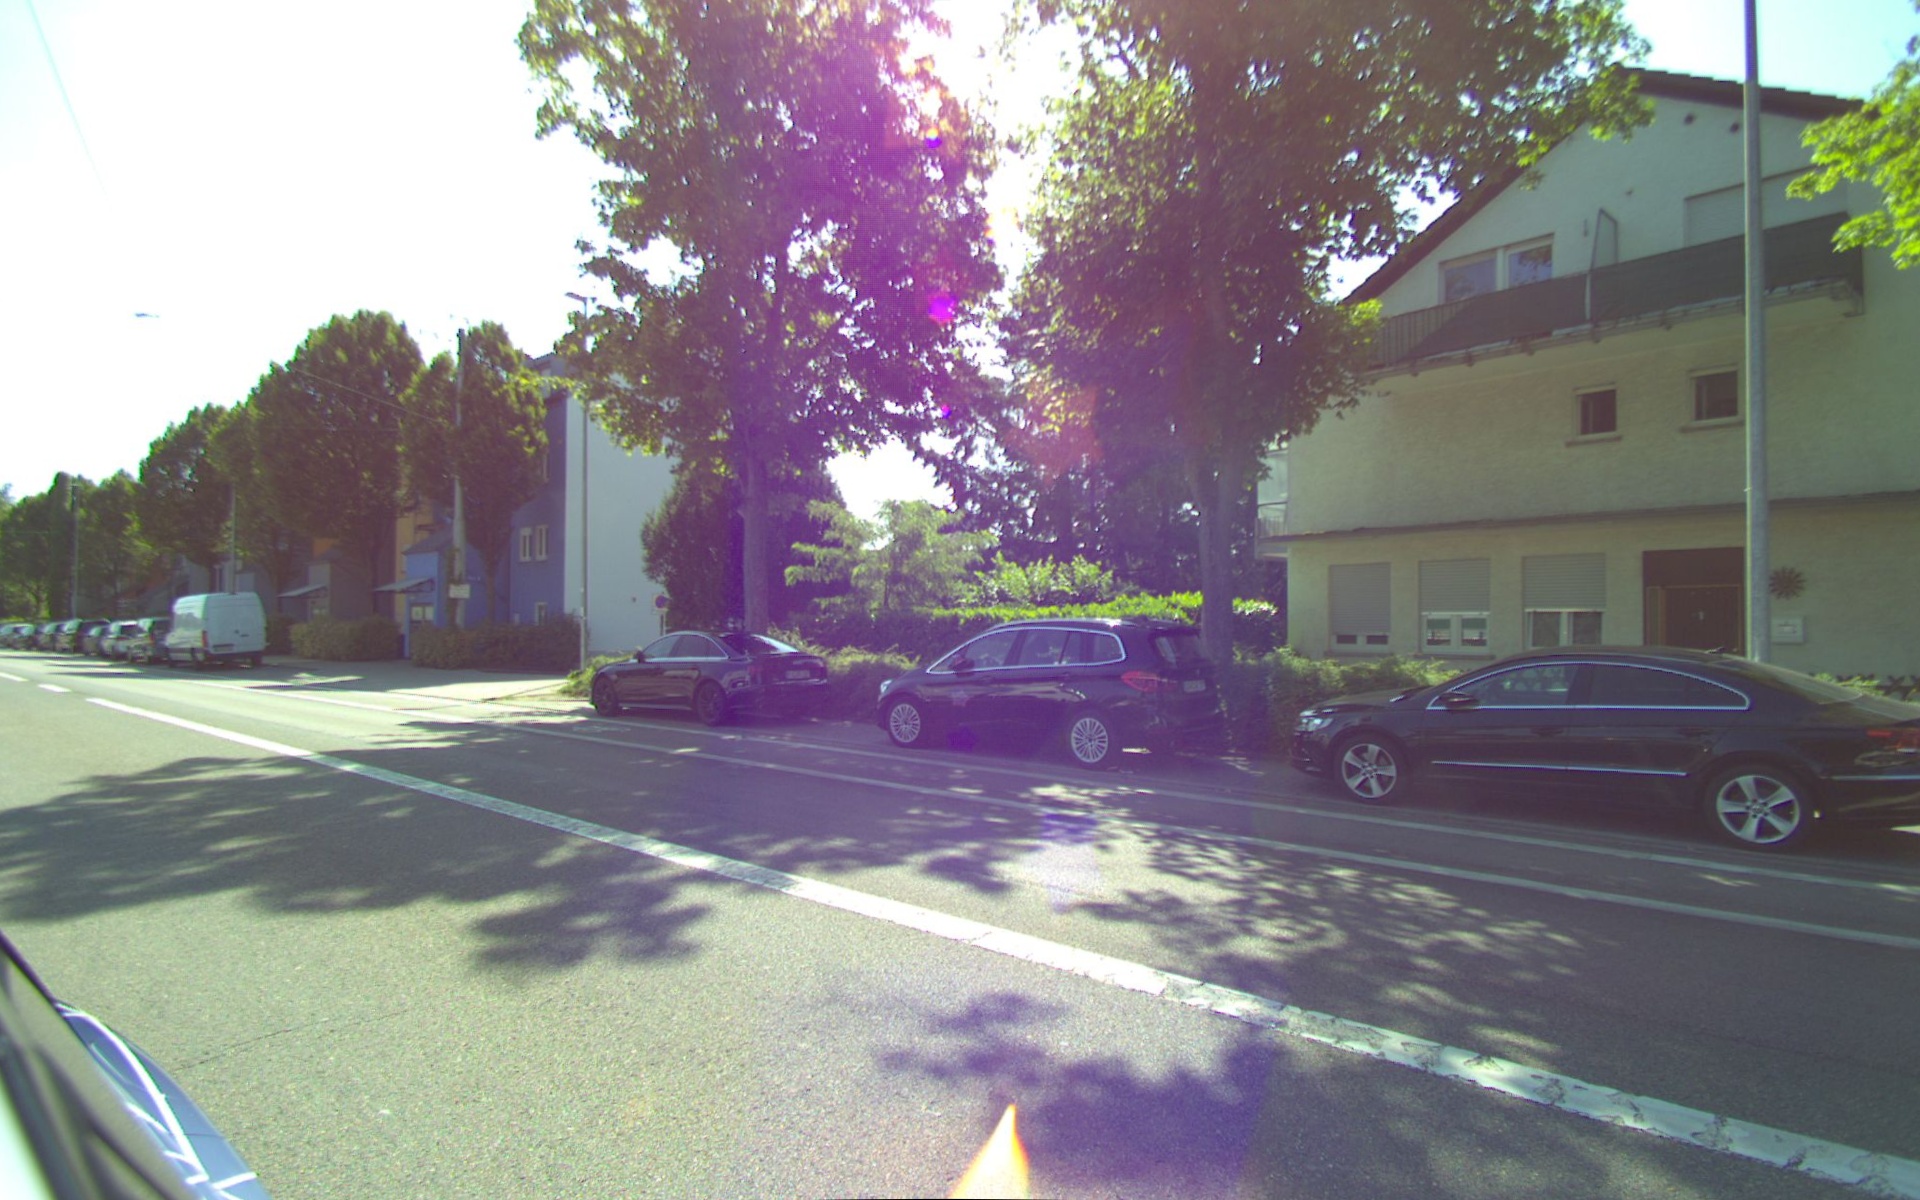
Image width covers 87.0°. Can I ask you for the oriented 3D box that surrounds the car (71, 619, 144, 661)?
[{"bbox_3d":[-42.124,1.967,49.989,4.254,1.818,1.974,-2,4,41],"label":"car"}]

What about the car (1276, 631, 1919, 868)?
[{"bbox_3d":[5.225,1.010,8.395,4.619,1.426,1.844,-1,0,41],"label":"car"}]

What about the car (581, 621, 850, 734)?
[{"bbox_3d":[-4.082,1.154,16.504,4.616,1.583,1.845,-1,-2,39],"label":"car"}]

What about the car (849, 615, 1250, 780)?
[{"bbox_3d":[0.922,1.016,12.225,4.619,1.583,1.844,-1,0,41],"label":"car"}]

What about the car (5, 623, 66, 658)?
[{"bbox_3d":[-54.905,2.374,60.095,4.766,1.818,1.974,-2,4,41],"label":"car"}]

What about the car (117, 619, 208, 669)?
[{"bbox_3d":[-33.518,1.808,42.498,4.766,1.818,1.974,-2,4,41],"label":"car"}]

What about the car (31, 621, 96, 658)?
[{"bbox_3d":[-50.228,2.189,56.674,4.766,1.818,1.974,-2,4,41],"label":"car"}]

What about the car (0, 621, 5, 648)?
[{"bbox_3d":[-68.806,2.519,71.058,4.766,1.818,1.974,-2,4,41],"label":"car"}]

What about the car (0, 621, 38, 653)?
[{"bbox_3d":[-60.265,2.352,64.196,4.766,1.818,1.974,-2,4,41],"label":"car"}]

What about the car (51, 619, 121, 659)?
[{"bbox_3d":[-45.835,2.021,53.046,4.766,1.818,1.974,-2,4,41],"label":"car"}]

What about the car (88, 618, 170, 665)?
[{"bbox_3d":[-38.055,1.873,46.314,4.766,1.818,1.974,-2,4,41],"label":"car"}]

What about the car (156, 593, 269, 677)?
[{"bbox_3d":[-27.371,1.237,36.948,6.213,2.713,1.973,-2,4,43],"label":"car"}]
